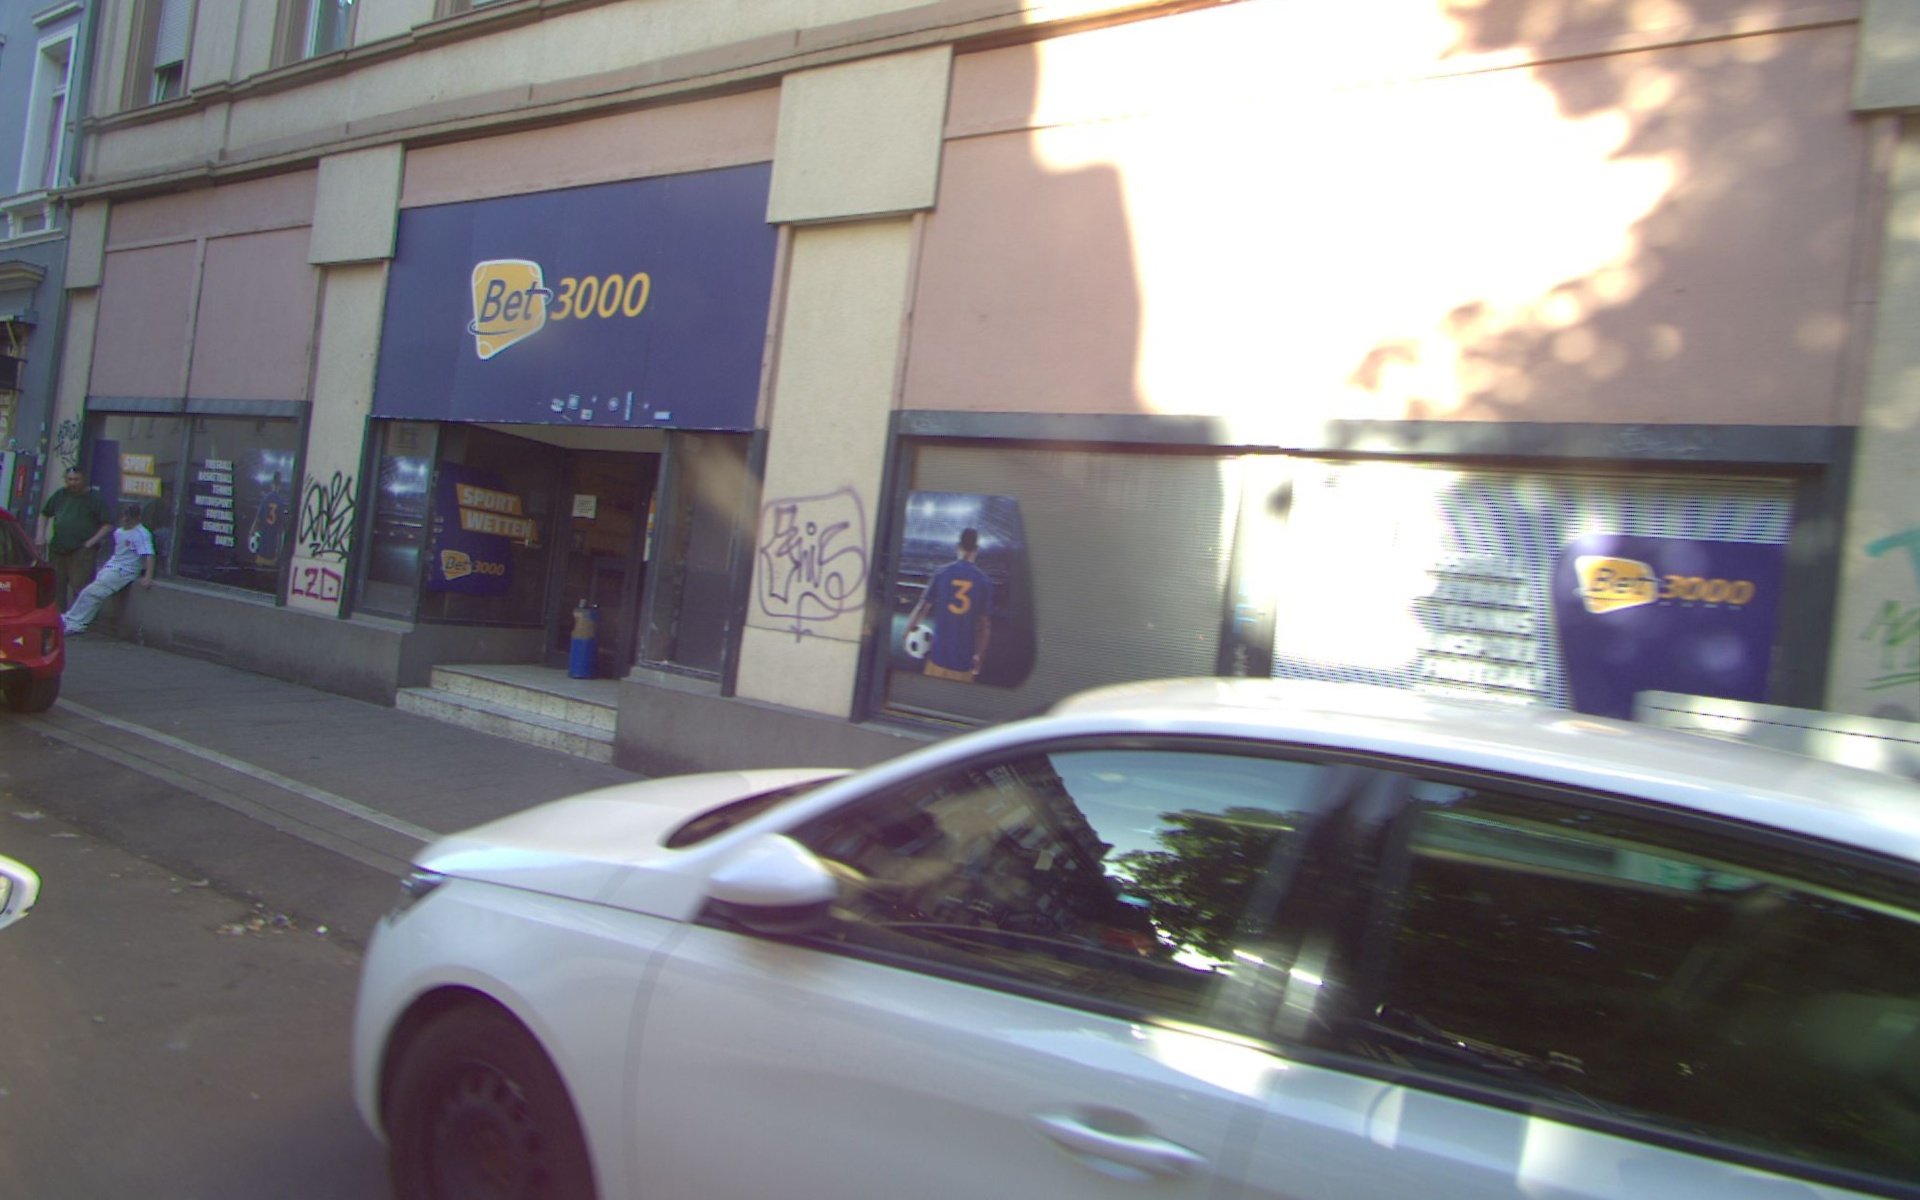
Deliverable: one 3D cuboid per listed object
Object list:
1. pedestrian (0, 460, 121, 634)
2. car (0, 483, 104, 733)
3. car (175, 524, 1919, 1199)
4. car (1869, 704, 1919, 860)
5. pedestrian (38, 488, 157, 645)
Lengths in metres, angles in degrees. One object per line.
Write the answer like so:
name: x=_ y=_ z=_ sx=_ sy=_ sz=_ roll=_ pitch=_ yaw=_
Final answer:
pedestrian: x=-9.780 y=-0.554 z=10.898 sx=0.646 sy=1.761 sz=0.631 roll=7 pitch=-1 yaw=16
car: x=-7.791 y=-0.137 z=6.940 sx=3.492 sy=1.590 sz=1.611 roll=6 pitch=-2 yaw=29
car: x=0.386 y=0.855 z=2.326 sx=4.064 sy=1.533 sz=1.792 roll=6 pitch=-2 yaw=27
car: x=12.335 y=2.308 z=11.448 sx=1.836 sy=1.863 sz=3.933 roll=10 pitch=0 yaw=29
pedestrian: x=-9.115 y=-0.347 z=10.647 sx=0.647 sy=1.547 sz=0.589 roll=6 pitch=-1 yaw=23
